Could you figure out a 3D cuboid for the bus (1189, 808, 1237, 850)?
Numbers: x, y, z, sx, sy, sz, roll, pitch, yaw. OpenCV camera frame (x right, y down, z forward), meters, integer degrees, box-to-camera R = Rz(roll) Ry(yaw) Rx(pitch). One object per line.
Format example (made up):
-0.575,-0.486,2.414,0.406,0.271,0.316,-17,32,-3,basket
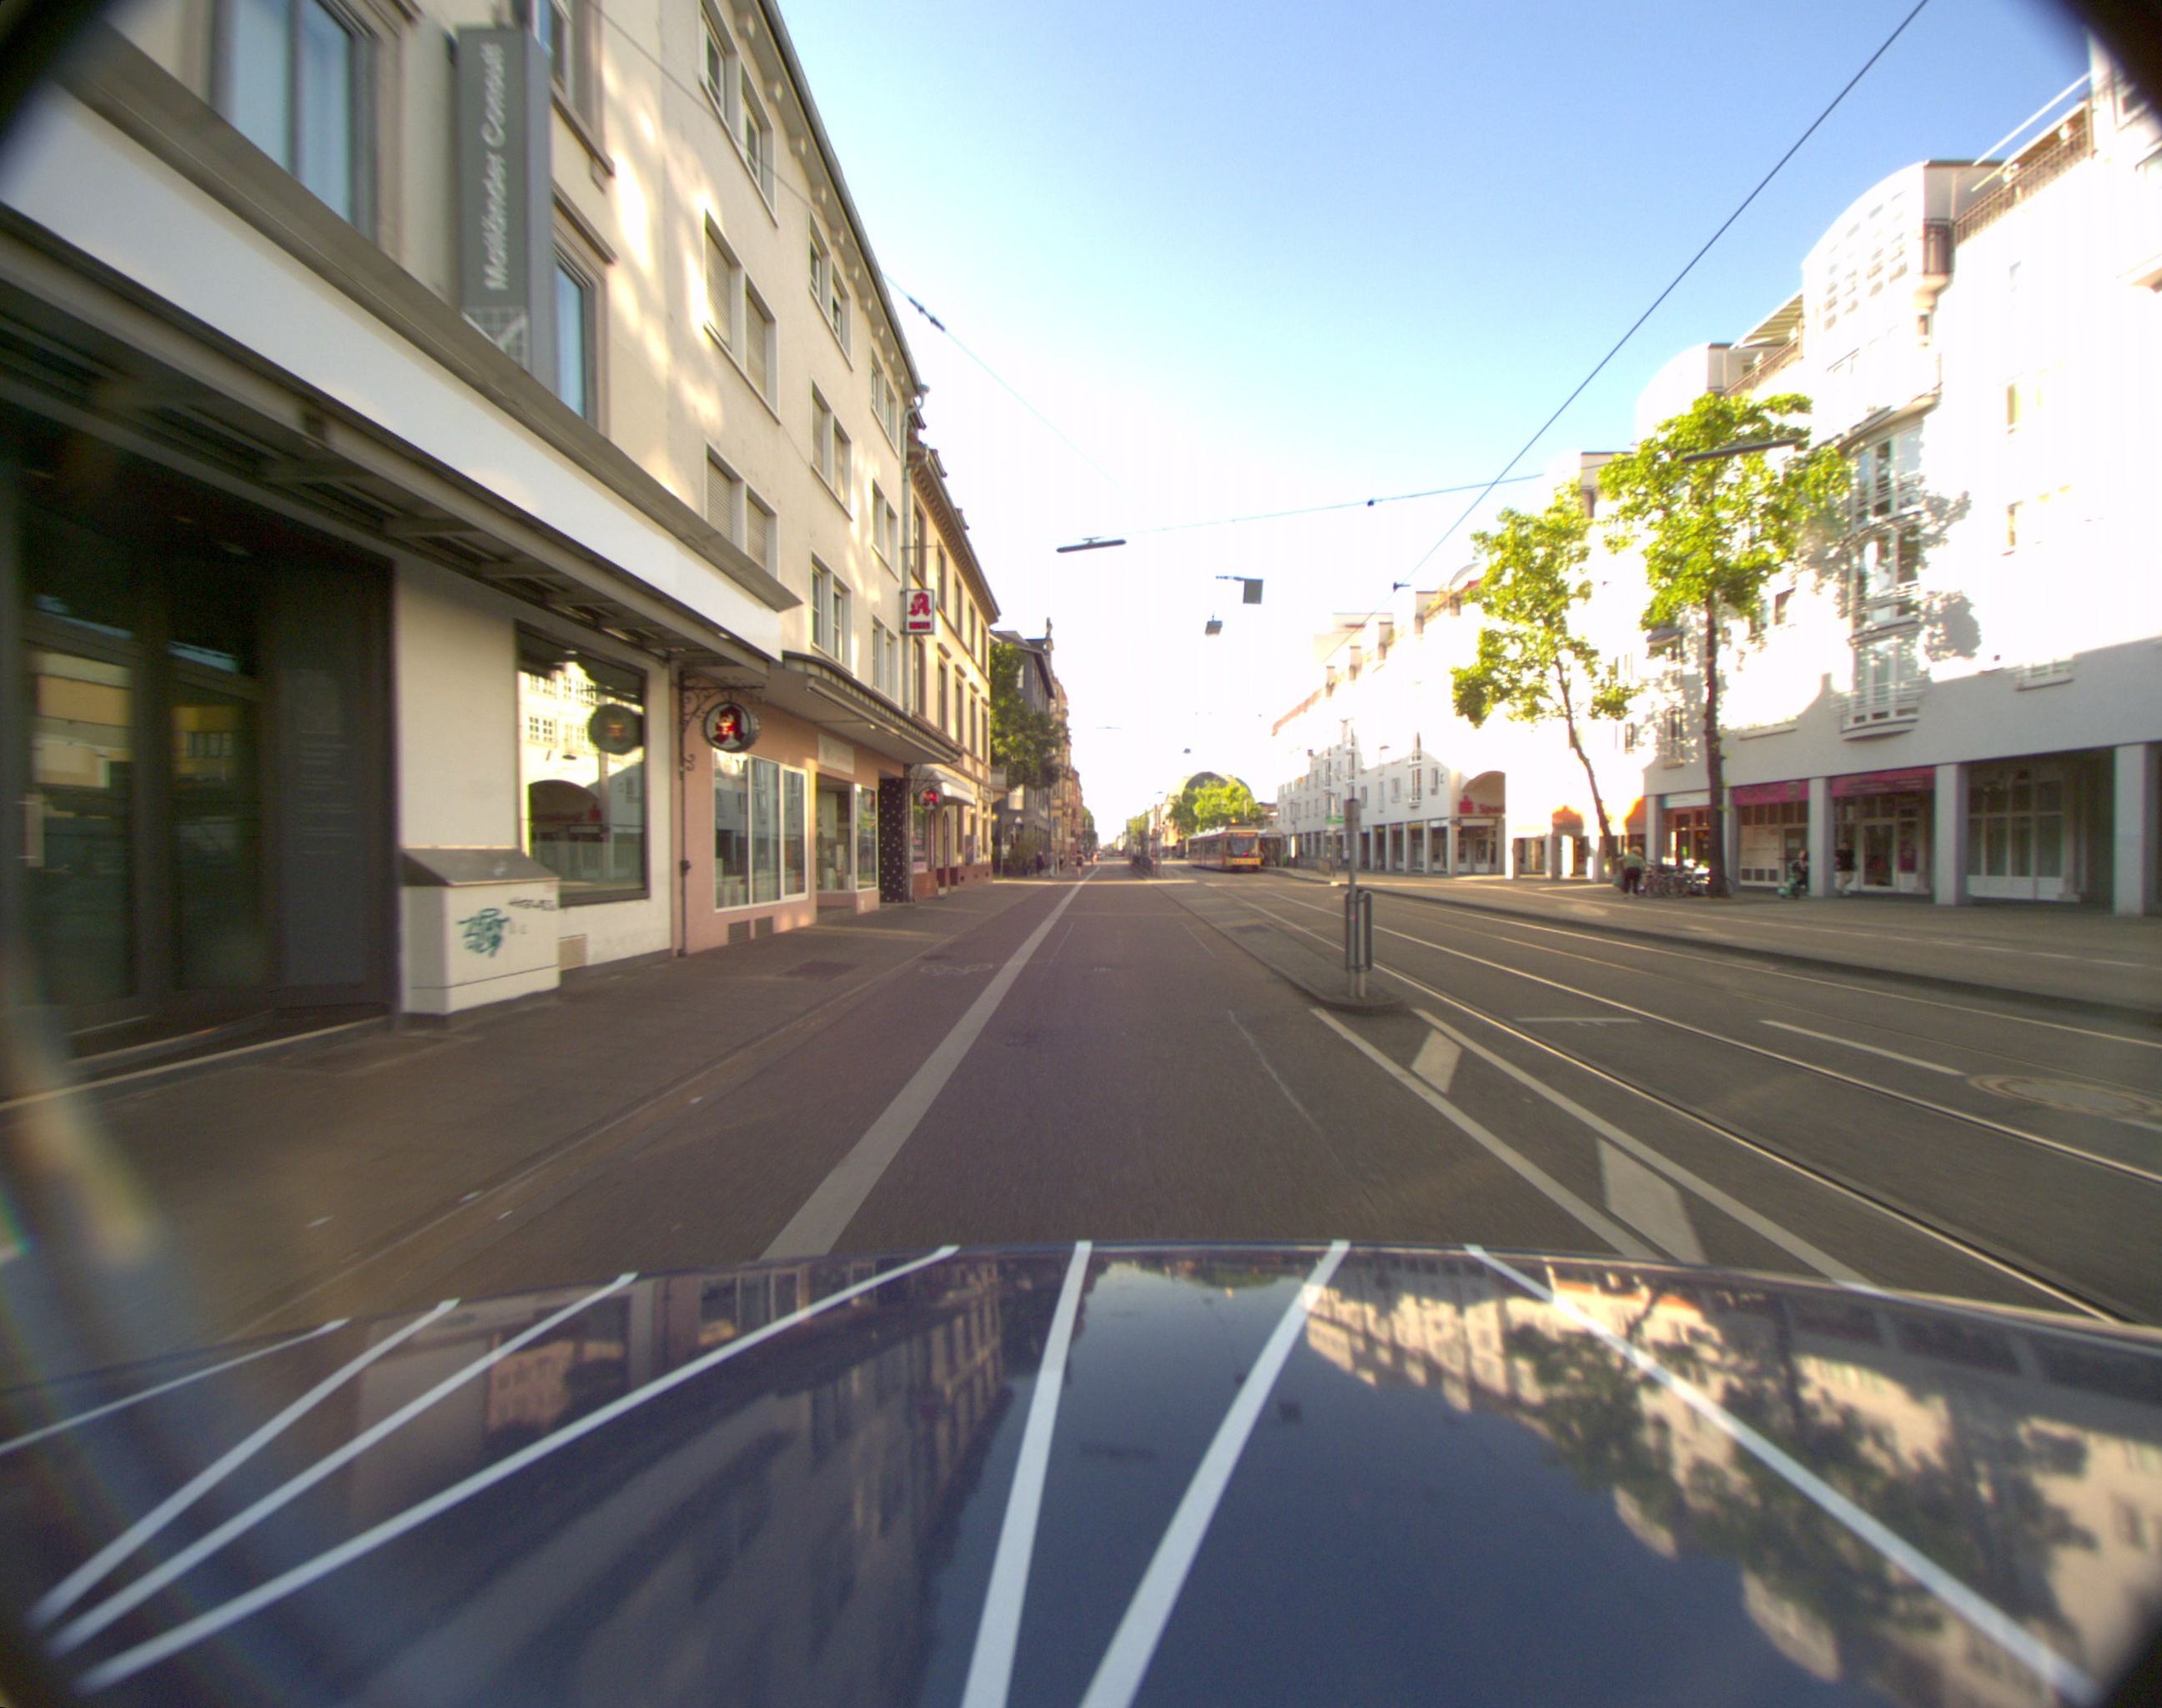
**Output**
12.144,-2.159,70.945,2.818,3.547,13.680,0,1,3,bus

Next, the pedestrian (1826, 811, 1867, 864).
22.929,-0.499,22.767,0.560,1.567,0.632,0,1,4,pedestrian

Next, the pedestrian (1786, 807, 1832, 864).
22.365,-0.559,23.352,0.631,1.706,0.825,0,1,4,pedestrian

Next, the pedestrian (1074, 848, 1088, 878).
-0.002,0.528,45.683,0.807,1.790,0.761,0,1,2,pedestrian

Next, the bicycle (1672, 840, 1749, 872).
18.768,0.065,22.669,1.849,0.907,0.389,-2,1,8,bicycle

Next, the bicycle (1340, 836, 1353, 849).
21.248,-0.898,60.897,0.518,0.983,1.727,-2,1,3,bicycle

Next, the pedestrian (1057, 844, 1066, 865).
-1.639,0.073,64.046,0.650,1.761,0.697,0,1,7,pedestrian

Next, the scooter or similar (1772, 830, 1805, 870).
19.937,-0.110,21.434,0.335,1.105,1.182,0,1,25,scooter or similar

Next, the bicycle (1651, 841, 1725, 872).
18.883,0.082,23.638,1.849,0.907,0.389,-2,0,8,bicycle

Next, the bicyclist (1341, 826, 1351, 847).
21.243,-1.419,60.893,0.514,1.690,0.807,-2,1,3,bicyclist

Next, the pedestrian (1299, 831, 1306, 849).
21.558,-1.382,73.976,0.533,1.706,0.706,0,1,4,pedestrian

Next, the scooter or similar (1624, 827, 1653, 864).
19.956,-0.316,27.212,0.378,1.271,1.181,-3,0,14,scooter or similar

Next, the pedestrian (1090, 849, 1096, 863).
1.460,0.207,95.040,0.694,1.761,0.697,0,1,7,pedestrian

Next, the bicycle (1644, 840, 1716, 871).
18.947,0.047,24.063,1.849,0.907,0.389,-2,1,8,bicycle

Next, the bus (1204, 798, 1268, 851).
11.414,-2.029,57.399,2.817,3.547,13.680,0,1,3,bus

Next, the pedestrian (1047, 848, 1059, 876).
-1.727,0.467,46.727,0.651,1.706,0.805,0,1,-5,pedestrian

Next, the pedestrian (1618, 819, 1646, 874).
17.357,-0.233,23.945,0.630,1.706,0.826,0,1,30,pedestrian

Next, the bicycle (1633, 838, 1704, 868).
18.934,-0.021,24.507,1.849,0.907,0.389,-2,1,8,bicycle

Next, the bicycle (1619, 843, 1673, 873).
17.731,0.100,23.887,0.389,0.907,1.851,-2,1,3,bicycle

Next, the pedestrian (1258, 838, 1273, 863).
13.590,-0.288,56.026,0.918,1.822,0.978,0,1,4,pedestrian

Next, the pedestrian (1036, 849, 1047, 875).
-2.446,0.459,46.648,0.651,1.569,0.682,0,1,-5,pedestrian
